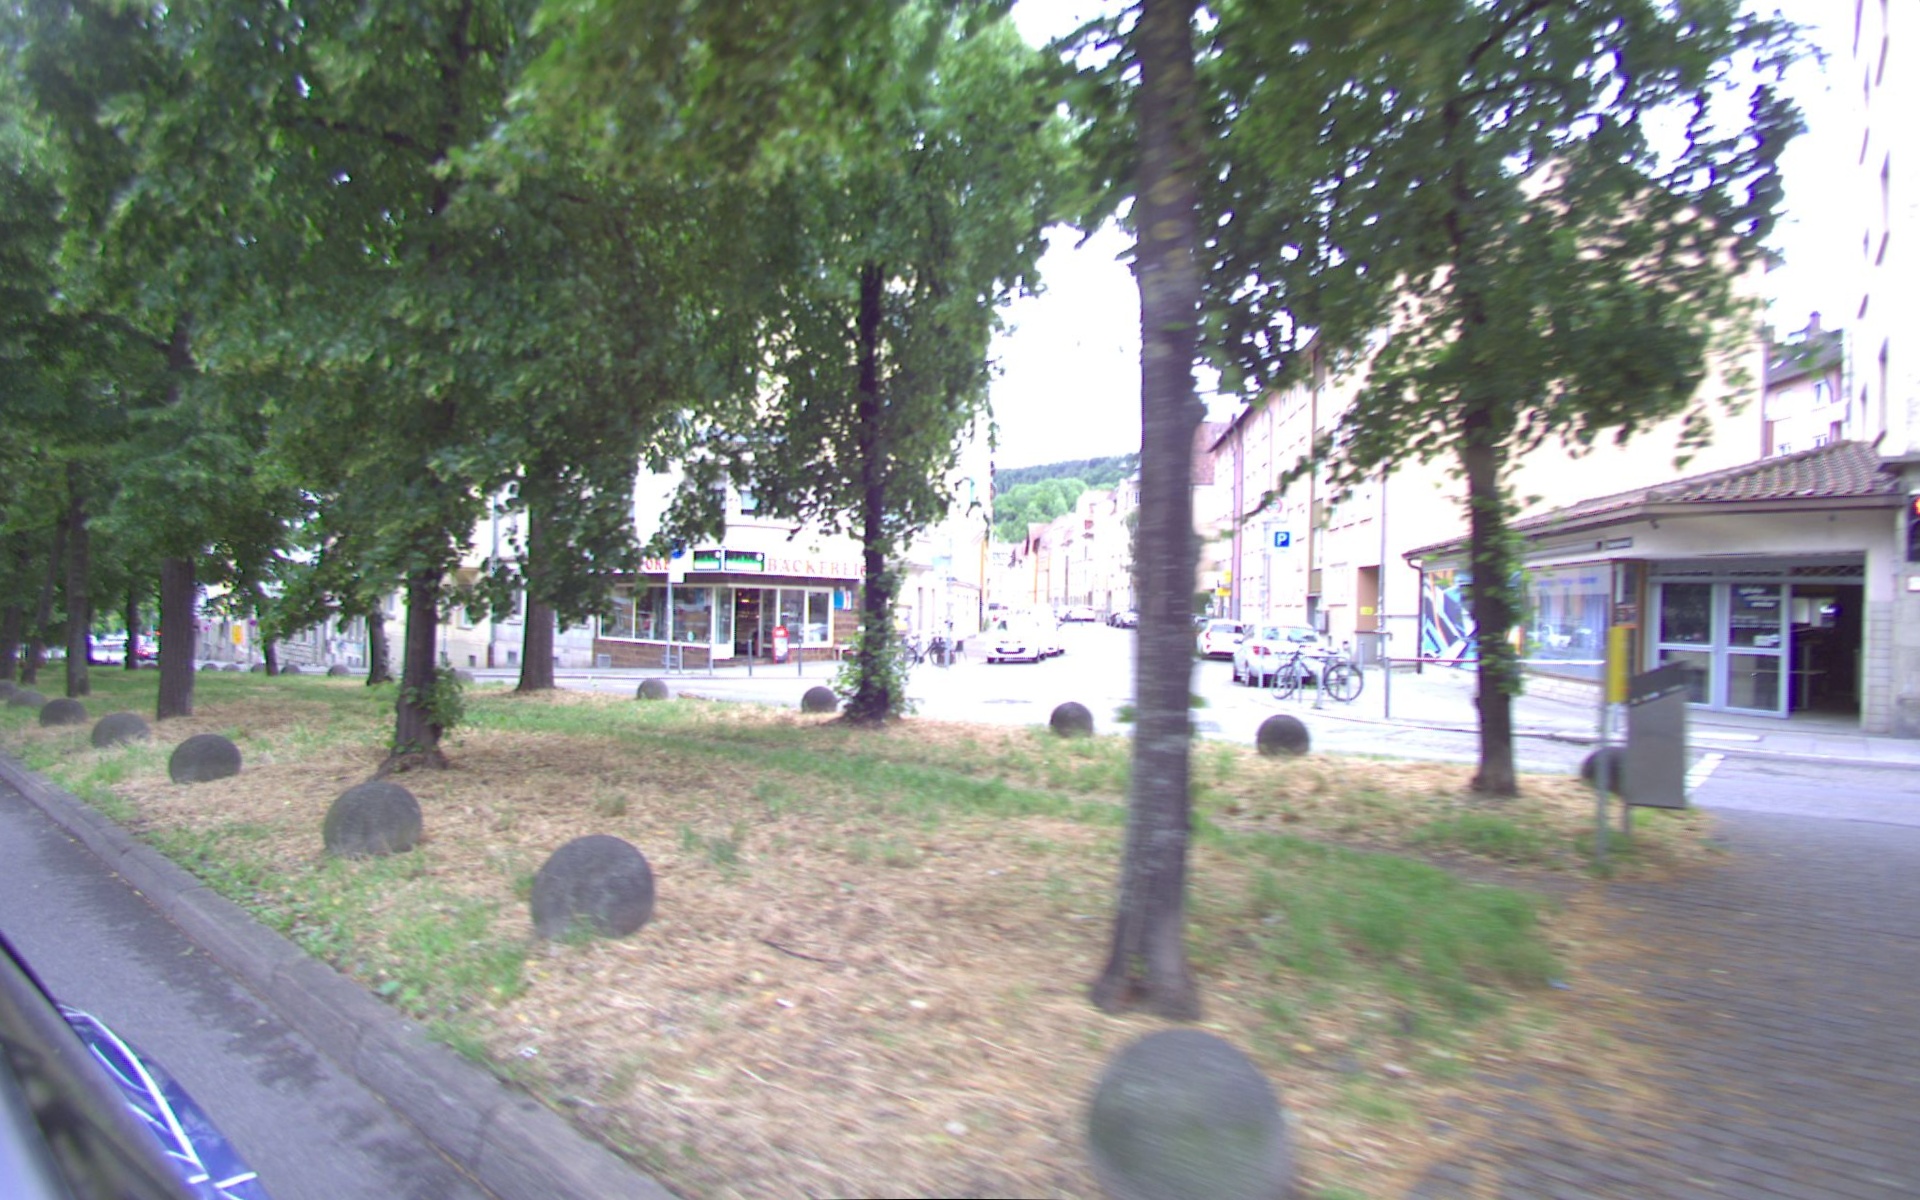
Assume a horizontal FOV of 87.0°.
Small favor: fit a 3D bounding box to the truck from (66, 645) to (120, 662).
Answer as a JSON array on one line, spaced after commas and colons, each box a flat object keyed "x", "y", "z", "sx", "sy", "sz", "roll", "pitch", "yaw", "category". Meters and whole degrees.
[{"x": -145.034, "y": 8.902, "z": 169.385, "sx": 2.746, "sy": 2.744, "sz": 6.426, "roll": -1, "pitch": -3, "yaw": 14, "category": "truck"}]

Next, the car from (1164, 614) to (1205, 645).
[{"x": 11.394, "y": 1.539, "z": 51.547, "sx": 1.775, "sy": 1.490, "sz": 3.889, "roll": 1, "pitch": -2, "yaw": 9, "category": "car"}]

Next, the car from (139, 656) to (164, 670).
[{"x": -83.506, "y": 6.512, "z": 104.515, "sx": 1.736, "sy": 1.393, "sz": 4.674, "roll": 3, "pitch": -5, "yaw": -41, "category": "car"}]

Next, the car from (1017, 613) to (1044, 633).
[{"x": 5.056, "y": 1.633, "z": 73.307, "sx": 1.753, "sy": 1.412, "sz": 3.803, "roll": 0, "pitch": 0, "yaw": 1, "category": "car"}]

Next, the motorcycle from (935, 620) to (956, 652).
[{"x": -0.569, "y": 1.397, "z": 39.870, "sx": 0.523, "sy": 1.165, "sz": 2.522, "roll": 0, "pitch": 0, "yaw": 6, "category": "motorcycle"}]

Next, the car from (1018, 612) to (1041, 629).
[{"x": 5.870, "y": 1.722, "z": 85.350, "sx": 1.753, "sy": 1.412, "sz": 3.803, "roll": 0, "pitch": 0, "yaw": 1, "category": "car"}]

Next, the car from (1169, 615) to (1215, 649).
[{"x": 10.560, "y": 1.479, "z": 46.293, "sx": 1.775, "sy": 1.490, "sz": 3.889, "roll": 1, "pitch": -2, "yaw": 9, "category": "car"}]

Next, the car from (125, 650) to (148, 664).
[{"x": -98.896, "y": 6.827, "z": 121.533, "sx": 1.794, "sy": 1.649, "sz": 4.684, "roll": 4, "pitch": -4, "yaw": -43, "category": "car"}]

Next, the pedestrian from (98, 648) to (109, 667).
[{"x": -68.134, "y": 4.547, "z": 80.500, "sx": 0.690, "sy": 1.471, "sz": 0.705, "roll": 0, "pitch": -3, "yaw": -41, "category": "pedestrian"}]

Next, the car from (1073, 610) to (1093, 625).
[{"x": 12.739, "y": 1.841, "z": 104.881, "sx": 1.931, "sy": 1.490, "sz": 3.893, "roll": 1, "pitch": -2, "yaw": 5, "category": "car"}]

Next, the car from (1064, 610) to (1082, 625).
[{"x": 12.365, "y": 1.897, "z": 110.834, "sx": 1.931, "sy": 1.490, "sz": 3.893, "roll": 1, "pitch": -2, "yaw": 5, "category": "car"}]

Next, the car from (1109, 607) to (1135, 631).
[{"x": 12.883, "y": 1.550, "z": 80.796, "sx": 1.773, "sy": 1.865, "sz": 3.893, "roll": 1, "pitch": -2, "yaw": 5, "category": "car"}]

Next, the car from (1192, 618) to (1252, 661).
[{"x": 9.697, "y": 1.460, "z": 37.680, "sx": 1.775, "sy": 1.490, "sz": 3.889, "roll": 1, "pitch": -2, "yaw": 9, "category": "car"}]

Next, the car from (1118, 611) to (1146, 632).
[{"x": 12.845, "y": 1.638, "z": 75.716, "sx": 1.773, "sy": 1.490, "sz": 3.893, "roll": 1, "pitch": -2, "yaw": 5, "category": "car"}]

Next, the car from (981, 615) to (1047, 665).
[{"x": 1.813, "y": 1.289, "z": 33.030, "sx": 1.801, "sy": 1.523, "sz": 3.756, "roll": 1, "pitch": -2, "yaw": 9, "category": "car"}]

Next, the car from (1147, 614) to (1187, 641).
[{"x": 11.746, "y": 1.598, "z": 57.658, "sx": 1.773, "sy": 1.490, "sz": 3.893, "roll": 1, "pitch": -2, "yaw": 5, "category": "car"}]

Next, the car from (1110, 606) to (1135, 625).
[{"x": 13.810, "y": 1.305, "z": 86.068, "sx": 1.773, "sy": 1.490, "sz": 3.893, "roll": 1, "pitch": -2, "yaw": 5, "category": "car"}]

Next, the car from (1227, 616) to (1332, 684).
[{"x": 7.631, "y": 1.258, "z": 24.543, "sx": 1.801, "sy": 1.490, "sz": 4.029, "roll": 1, "pitch": -4, "yaw": 9, "category": "car"}]

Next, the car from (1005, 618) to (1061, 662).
[{"x": 2.775, "y": 1.468, "z": 37.698, "sx": 1.801, "sy": 1.523, "sz": 3.756, "roll": 1, "pitch": -2, "yaw": 9, "category": "car"}]

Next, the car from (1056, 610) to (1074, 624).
[{"x": 12.117, "y": 1.939, "z": 116.977, "sx": 1.931, "sy": 1.490, "sz": 3.893, "roll": 1, "pitch": -2, "yaw": 5, "category": "car"}]

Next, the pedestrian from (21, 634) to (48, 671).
[{"x": -45.132, "y": 2.568, "z": 49.374, "sx": 0.823, "sy": 1.725, "sz": 1.124, "roll": 6, "pitch": -4, "yaw": -42, "category": "pedestrian"}]

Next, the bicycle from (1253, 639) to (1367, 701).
[{"x": 6.654, "y": 1.321, "z": 19.312, "sx": 2.021, "sy": 1.093, "sz": 0.759, "roll": 0, "pitch": 0, "yaw": 20, "category": "bicycle"}]

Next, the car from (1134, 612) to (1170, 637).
[{"x": 11.970, "y": 1.550, "z": 63.285, "sx": 1.773, "sy": 1.490, "sz": 3.893, "roll": 1, "pitch": -2, "yaw": 5, "category": "car"}]

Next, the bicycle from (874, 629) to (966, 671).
[{"x": -1.125, "y": 1.381, "z": 28.380, "sx": 2.417, "sy": 1.054, "sz": 0.871, "roll": -1, "pitch": 0, "yaw": -21, "category": "bicycle"}]
